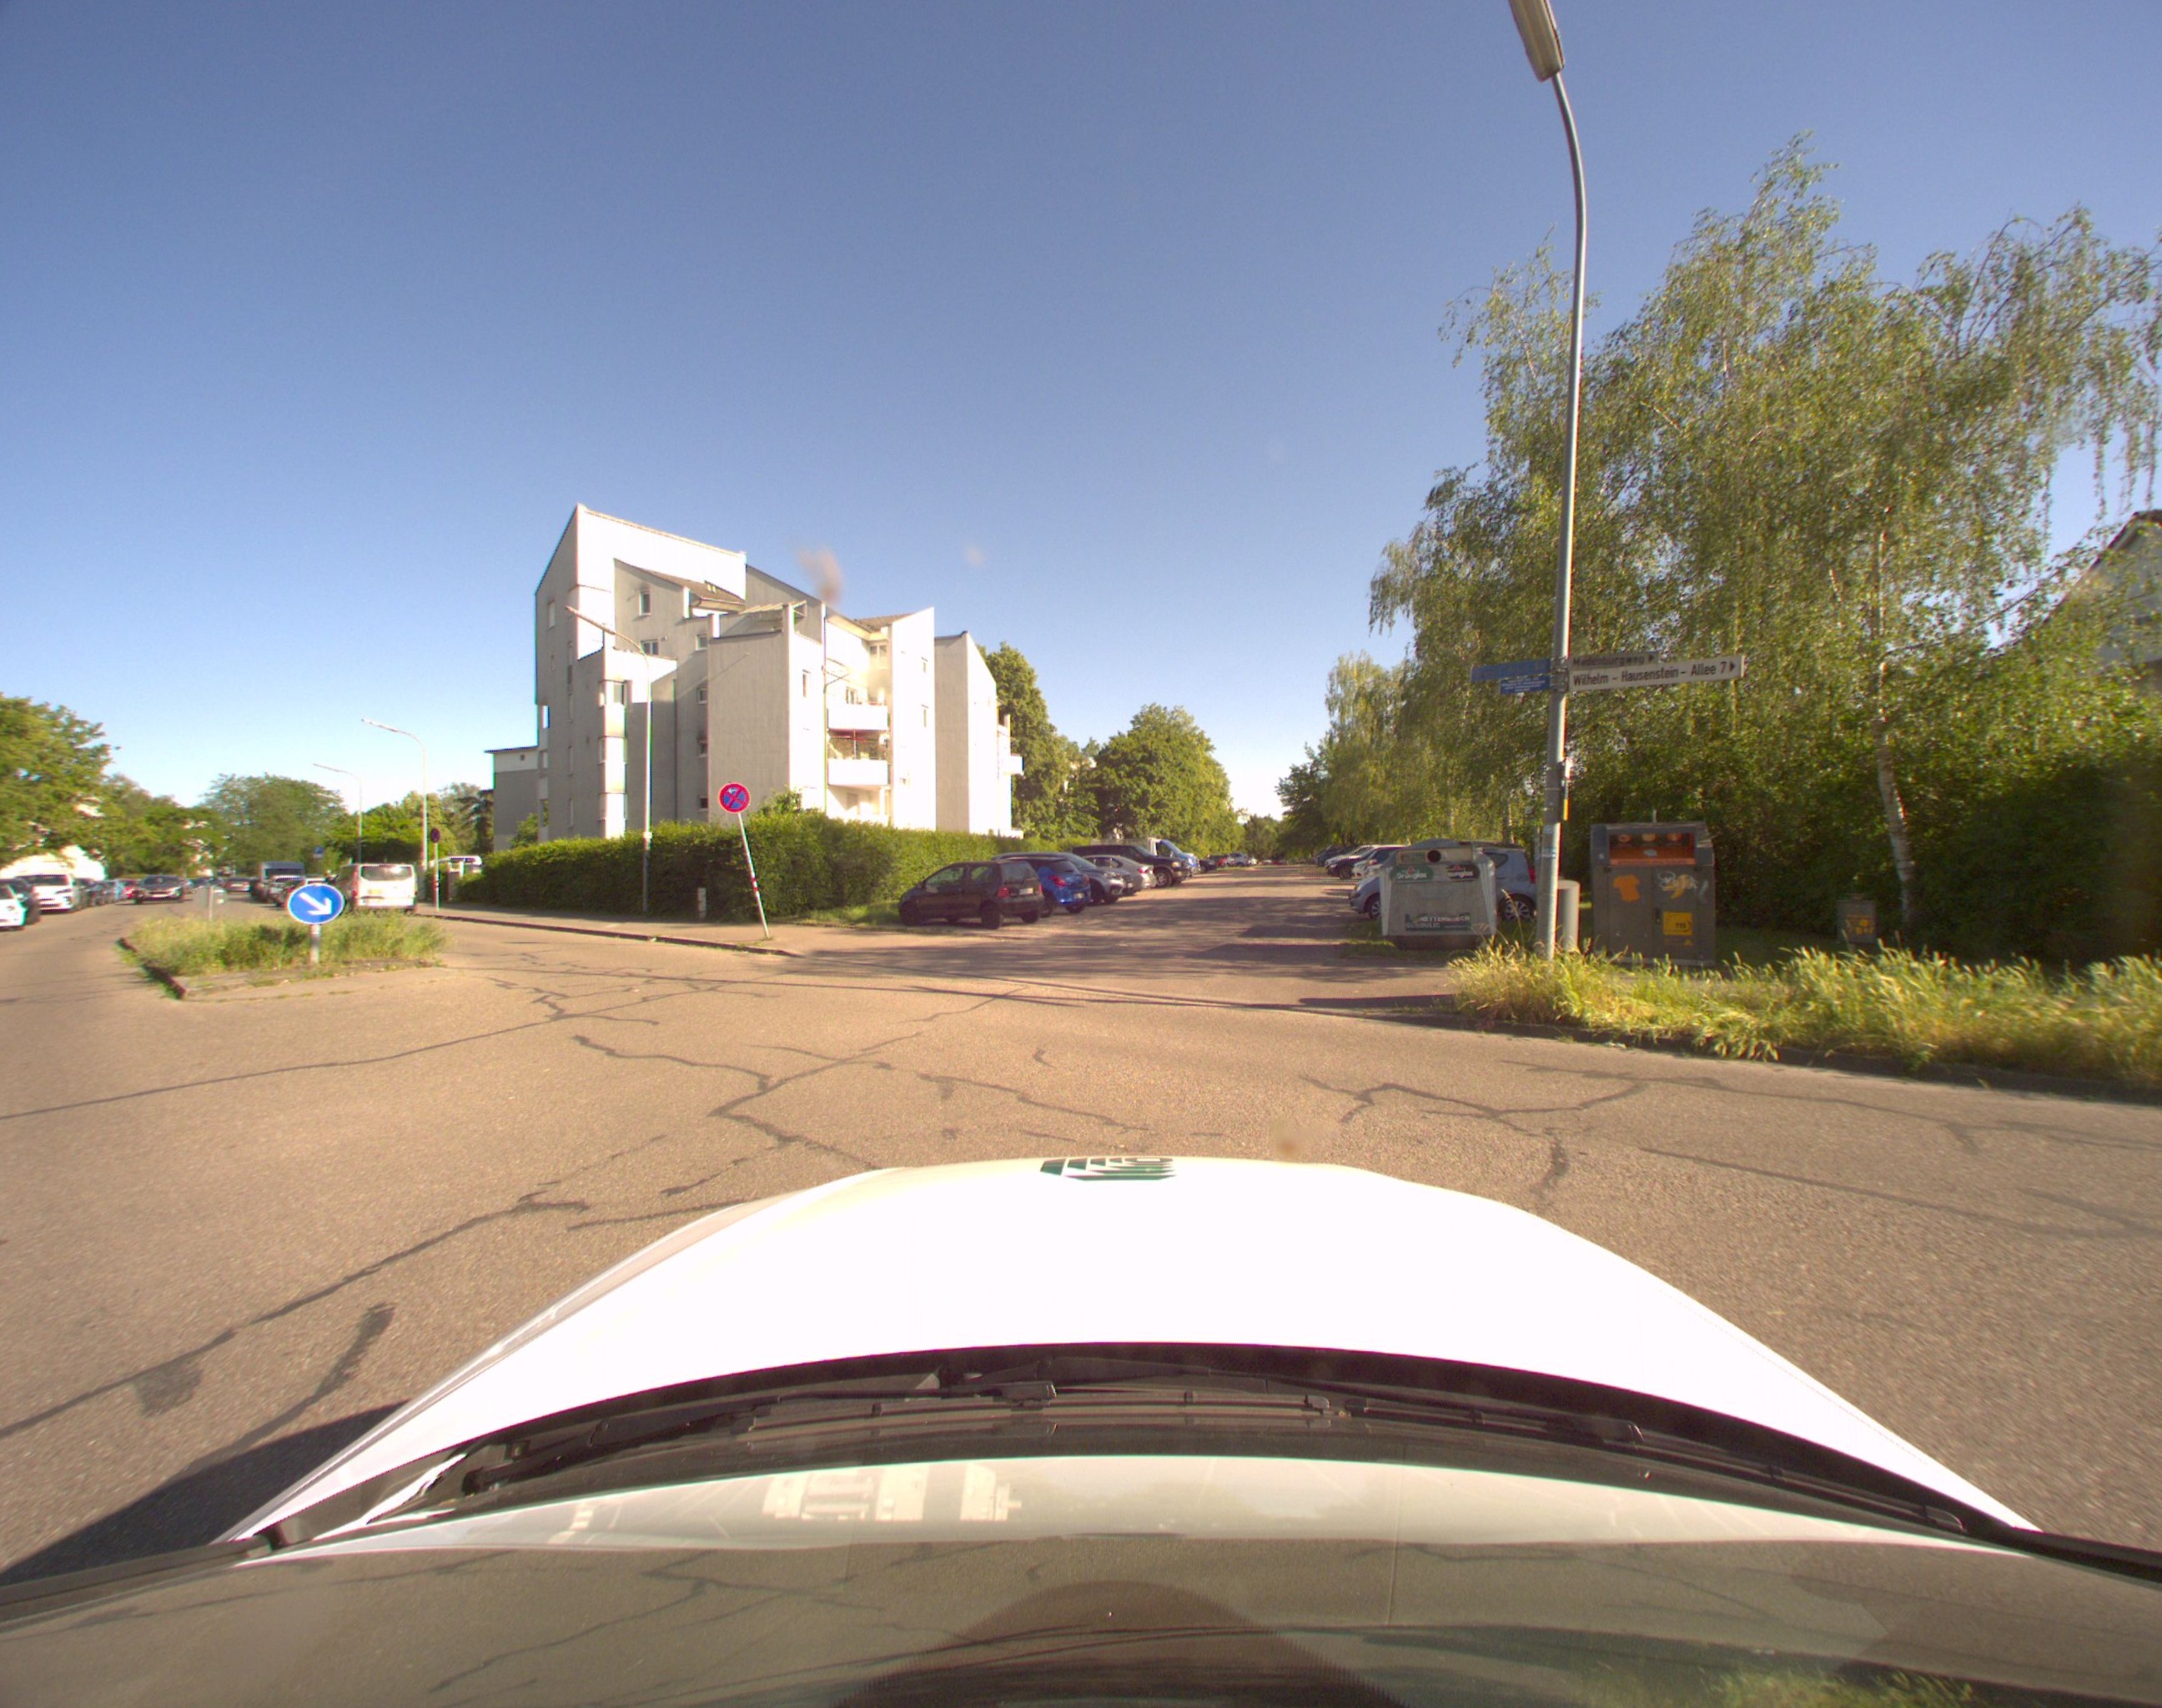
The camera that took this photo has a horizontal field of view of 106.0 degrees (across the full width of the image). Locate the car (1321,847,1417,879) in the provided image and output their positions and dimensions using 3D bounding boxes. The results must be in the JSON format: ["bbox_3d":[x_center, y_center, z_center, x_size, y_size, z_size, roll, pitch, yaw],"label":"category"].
[{"bbox_3d":[12.917,0.405,36.663,3.954,1.401,1.806,0,-1,18],"label":"car"}]

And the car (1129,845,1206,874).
[{"bbox_3d":[5.475,0.354,51.507,4.487,1.771,1.855,-1,0,16],"label":"car"}]

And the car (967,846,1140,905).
[{"bbox_3d":[-0.847,0.659,24.969,4.949,1.654,1.794,-2,0,21],"label":"car"}]

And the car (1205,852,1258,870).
[{"bbox_3d":[11.721,0.516,63.495,3.911,1.334,1.854,-1,0,15],"label":"car"}]

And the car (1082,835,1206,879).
[{"bbox_3d":[3.388,0.176,43.415,6.212,2.147,2.420,-1,0,13],"label":"car"}]

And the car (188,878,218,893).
[{"bbox_3d":[-87.188,3.125,80.914,1.675,1.426,3.769,-2,0,-43],"label":"car"}]

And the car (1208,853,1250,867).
[{"bbox_3d":[14.707,0.595,80.875,3.911,1.334,1.854,-1,0,15],"label":"car"}]

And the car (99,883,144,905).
[{"bbox_3d":[-69.054,2.860,58.641,1.685,1.474,3.633,-2,0,-43],"label":"car"}]

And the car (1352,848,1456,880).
[{"bbox_3d":[13.467,0.424,34.068,3.953,1.278,1.807,0,-1,21],"label":"car"}]

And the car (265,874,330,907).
[{"bbox_3d":[-39.195,1.803,40.702,4.319,1.488,1.928,-2,-1,40],"label":"car"}]

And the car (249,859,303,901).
[{"bbox_3d":[-50.135,1.635,50.676,5.782,2.486,2.124,-2,-3,43],"label":"car"}]

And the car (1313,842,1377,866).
[{"bbox_3d":[17.361,0.010,53.549,3.954,1.585,1.806,0,-1,18],"label":"car"}]

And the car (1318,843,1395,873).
[{"bbox_3d":[15.311,0.224,45.317,3.954,1.585,1.806,0,-1,18],"label":"car"}]

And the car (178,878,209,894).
[{"bbox_3d":[-84.027,3.012,77.142,1.675,1.426,4.000,-2,0,-43],"label":"car"}]

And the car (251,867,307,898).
[{"bbox_3d":[-46.078,1.637,46.778,4.319,1.666,1.928,-2,-1,40],"label":"car"}]

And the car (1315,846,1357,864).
[{"bbox_3d":[25.411,0.109,81.077,3.954,1.708,1.806,0,-1,18],"label":"car"}]

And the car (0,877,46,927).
[{"bbox_3d":[-37.670,1.653,28.444,4.196,1.638,1.691,-1,0,40],"label":"car"}]

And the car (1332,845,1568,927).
[{"bbox_3d":[7.151,0.564,15.939,4.014,1.439,1.645,0,0,28],"label":"car"}]

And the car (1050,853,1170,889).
[{"bbox_3d":[1.163,0.679,32.405,4.416,1.335,1.855,-1,0,17],"label":"car"}]

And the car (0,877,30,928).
[{"bbox_3d":[-34.040,1.506,25.196,3.375,1.527,1.642,-1,-1,34],"label":"car"}]

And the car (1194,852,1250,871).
[{"bbox_3d":[10.520,0.529,60.533,3.911,1.334,1.854,-1,0,15],"label":"car"}]

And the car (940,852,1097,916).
[{"bbox_3d":[-1.629,0.771,20.974,3.645,1.496,1.661,-2,0,28],"label":"car"}]

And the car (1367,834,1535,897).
[{"bbox_3d":[10.515,0.308,23.409,4.079,1.706,1.796,0,1,9],"label":"car"}]

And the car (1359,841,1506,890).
[{"bbox_3d":[11.358,0.357,26.552,4.079,1.499,1.796,0,1,9],"label":"car"}]

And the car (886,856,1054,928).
[{"bbox_3d":[-2.562,0.811,18.634,3.488,1.466,1.715,-1,0,32],"label":"car"}]

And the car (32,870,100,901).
[{"bbox_3d":[-55.696,1.694,44.775,1.764,1.617,4.309,-1,-1,-43],"label":"car"}]

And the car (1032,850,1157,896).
[{"bbox_3d":[0.496,0.675,28.716,4.114,1.455,1.625,-2,-1,13],"label":"car"}]

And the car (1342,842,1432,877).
[{"bbox_3d":[14.687,0.270,39.197,3.954,1.585,1.806,0,-1,18],"label":"car"}]

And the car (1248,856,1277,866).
[{"bbox_3d":[24.231,0.900,108.525,3.618,1.212,1.854,-1,0,15],"label":"car"}]

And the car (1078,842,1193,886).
[{"bbox_3d":[2.323,0.420,34.585,4.484,1.771,1.856,-1,0,20],"label":"car"}]

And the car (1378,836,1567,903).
[{"bbox_3d":[9.885,0.370,20.849,4.027,1.603,1.796,0,1,10],"label":"car"}]

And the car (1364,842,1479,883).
[{"bbox_3d":[13.084,0.334,31.465,3.953,1.503,1.958,0,-1,21],"label":"car"}]

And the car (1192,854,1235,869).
[{"bbox_3d":[12.717,0.690,77.986,3.911,1.334,1.854,-1,0,15],"label":"car"}]

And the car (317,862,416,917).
[{"bbox_3d":[-26.984,1.311,30.703,4.889,1.912,2.013,-2,-1,39],"label":"car"}]

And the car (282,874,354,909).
[{"bbox_3d":[-34.887,1.673,37.194,4.319,1.488,1.928,-2,-1,40],"label":"car"}]

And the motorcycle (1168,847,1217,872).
[{"bbox_3d":[7.582,0.365,55.284,3.166,1.596,0.927,-1,0,17],"label":"motorcycle"}]

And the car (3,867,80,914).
[{"bbox_3d":[-47.146,1.596,37.021,4.611,1.961,1.881,-1,-1,41],"label":"car"}]

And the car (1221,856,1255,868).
[{"bbox_3d":[19.310,0.950,100.238,3.911,1.334,1.854,-1,0,15],"label":"car"}]

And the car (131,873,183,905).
[{"bbox_3d":[-53.864,2.024,47.507,4.132,1.705,1.931,-2,0,42],"label":"car"}]
